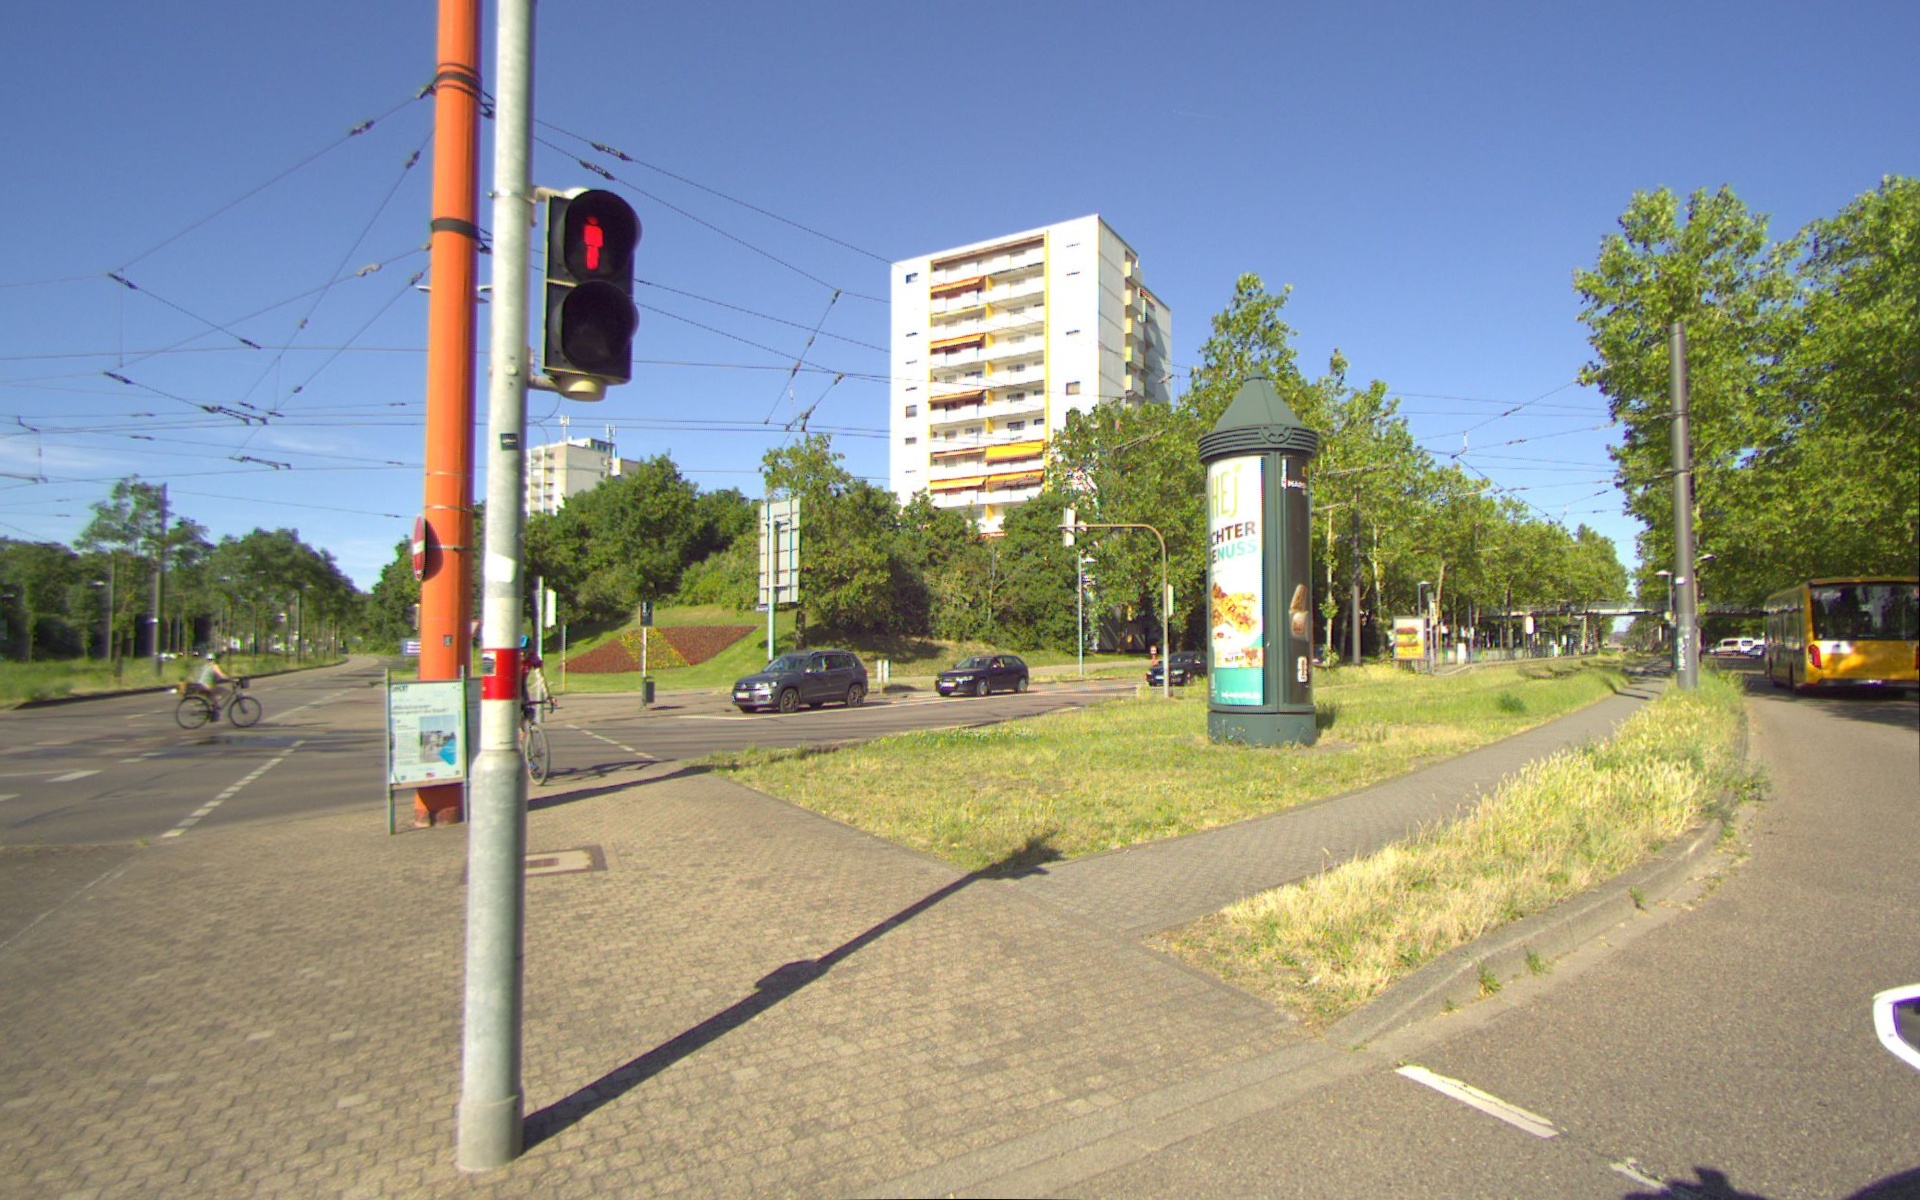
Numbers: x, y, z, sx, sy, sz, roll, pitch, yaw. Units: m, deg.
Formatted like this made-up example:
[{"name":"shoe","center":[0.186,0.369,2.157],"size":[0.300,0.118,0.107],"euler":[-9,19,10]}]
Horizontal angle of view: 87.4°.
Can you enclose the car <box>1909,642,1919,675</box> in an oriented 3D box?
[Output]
[{"name":"car","center":[40.815,2.289,40.186],"size":[4.067,1.335,1.800],"euler":[-1,-3,-4]}]

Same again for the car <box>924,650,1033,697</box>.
[{"name":"car","center":[0.717,2.519,35.207],"size":[1.770,1.530,4.255],"euler":[-2,-3,34]}]

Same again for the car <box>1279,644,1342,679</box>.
[{"name":"car","center":[17.518,3.034,50.078],"size":[1.771,1.637,4.218],"euler":[-2,-3,36]}]

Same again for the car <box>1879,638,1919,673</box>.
[{"name":"car","center":[44.717,2.508,45.940],"size":[4.102,1.530,1.797],"euler":[-1,-3,-10]}]

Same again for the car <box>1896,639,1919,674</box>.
[{"name":"car","center":[42.847,2.376,43.131],"size":[3.816,1.464,1.799],"euler":[-1,-3,-7]}]

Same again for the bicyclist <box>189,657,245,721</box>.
[{"name":"bicyclist","center":[-16.796,2.006,22.715],"size":[0.648,1.398,0.791],"euler":[-4,-2,25]}]

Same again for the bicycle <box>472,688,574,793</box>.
[{"name":"bicycle","center":[-5.303,1.642,12.128],"size":[0.696,1.122,1.881],"euler":[1,-4,-38]}]

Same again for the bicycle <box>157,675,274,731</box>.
[{"name":"bicycle","center":[-16.782,2.305,22.699],"size":[0.648,1.122,2.043],"euler":[-4,-3,25]}]

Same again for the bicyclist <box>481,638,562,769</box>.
[{"name":"bicyclist","center":[-5.315,1.231,12.156],"size":[0.696,1.496,0.947],"euler":[1,-4,-38]}]

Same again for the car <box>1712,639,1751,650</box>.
[{"name":"car","center":[107.788,6.214,140.353],"size":[1.785,1.530,3.955],"euler":[2,-4,-40]}]

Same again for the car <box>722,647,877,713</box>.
[{"name":"car","center":[-4.388,2.170,28.051],"size":[1.771,1.700,4.252],"euler":[-2,-3,36]}]

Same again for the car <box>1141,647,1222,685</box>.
[{"name":"car","center":[9.411,2.749,42.535],"size":[1.771,1.530,4.252],"euler":[-2,-3,36]}]

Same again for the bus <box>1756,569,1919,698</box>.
[{"name":"bus","center":[27.190,1.120,31.389],"size":[2.862,3.309,12.179],"euler":[-2,-3,35]}]
